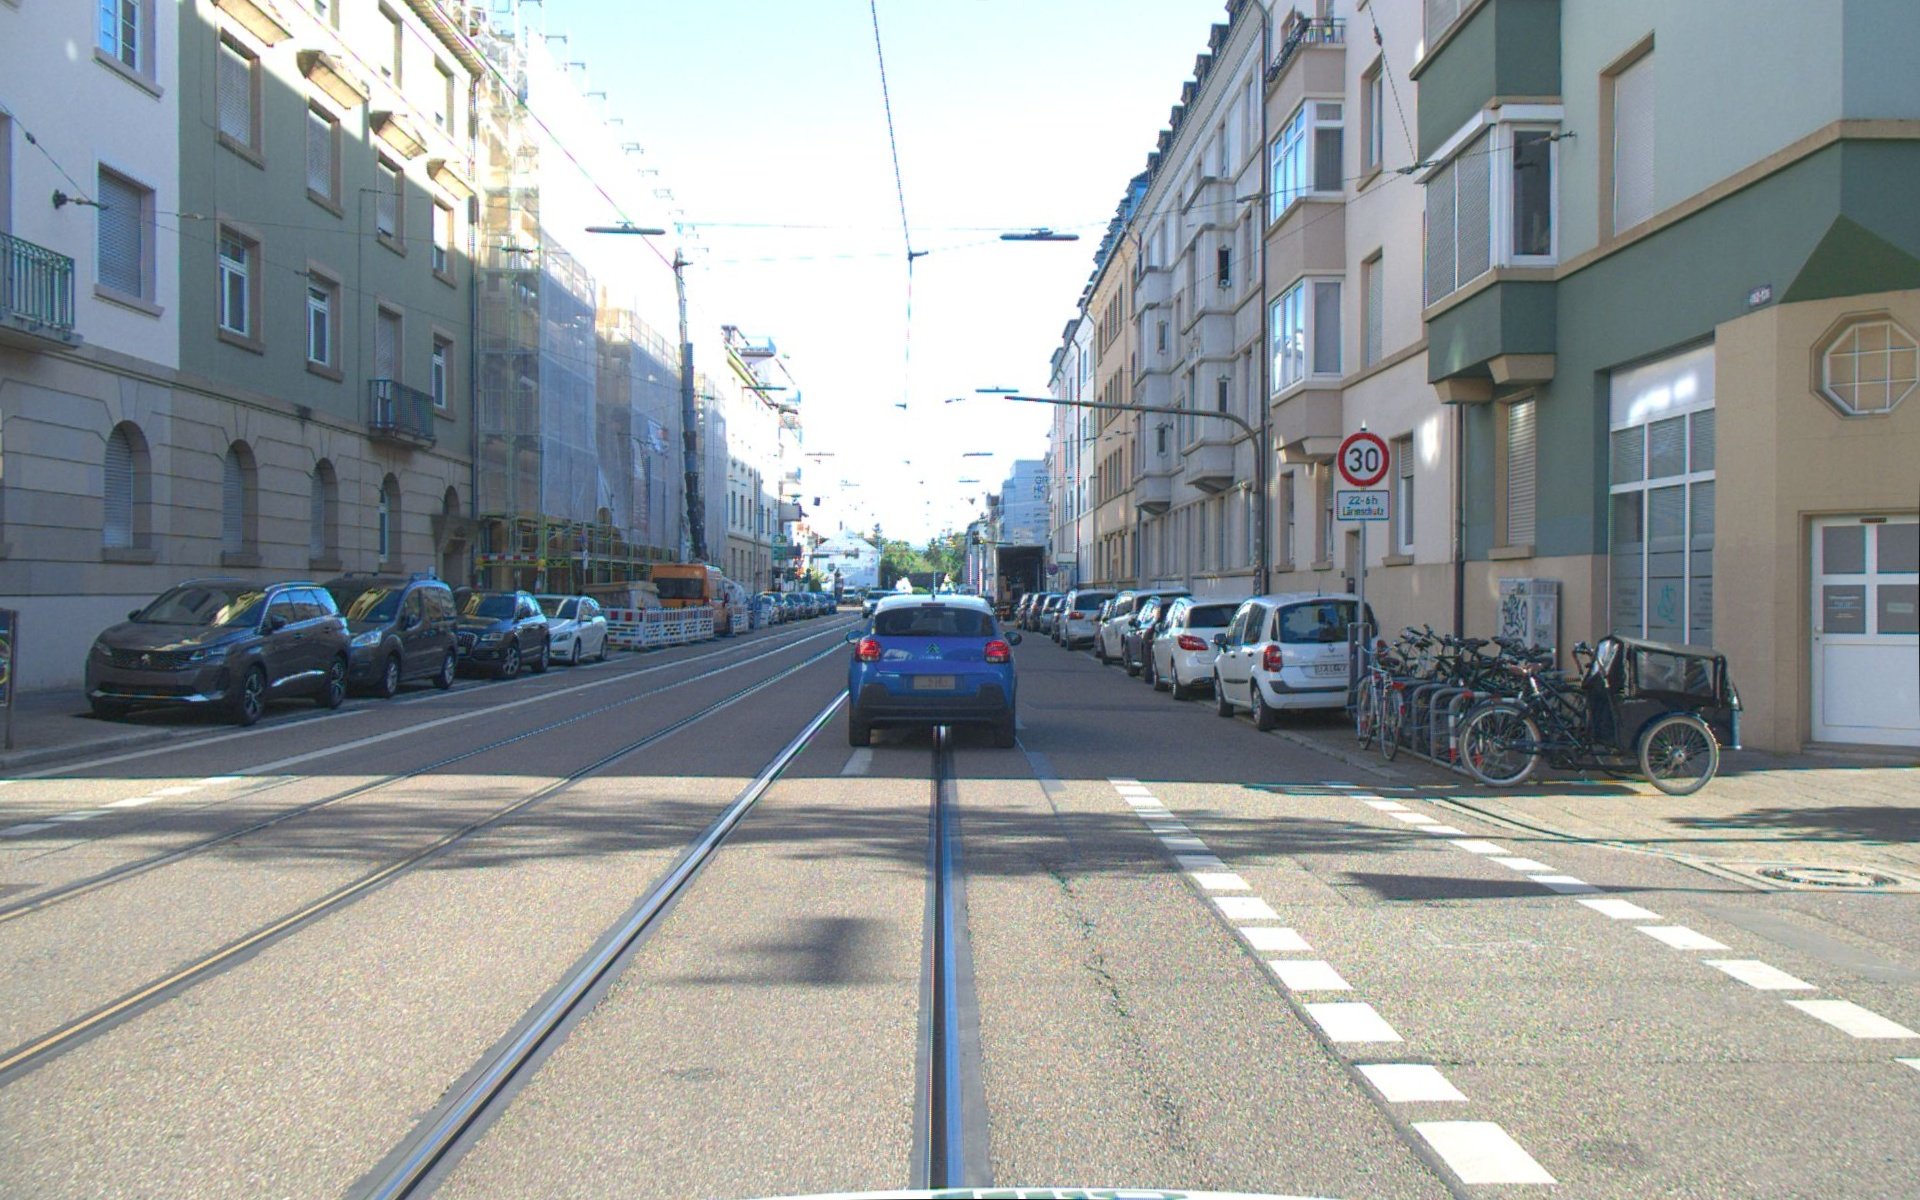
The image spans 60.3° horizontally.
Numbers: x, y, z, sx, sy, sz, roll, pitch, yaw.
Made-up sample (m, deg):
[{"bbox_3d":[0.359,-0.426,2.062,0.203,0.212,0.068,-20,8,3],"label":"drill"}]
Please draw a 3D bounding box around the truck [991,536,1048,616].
[{"bbox_3d":[3.208,-1.283,91.769,2.794,4.154,11.271,0,0,0],"label":"truck"}]

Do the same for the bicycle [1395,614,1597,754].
[{"bbox_3d":[5.017,0.779,15.520,1.687,1.174,0.469,-4,0,0],"label":"bicycle"}]

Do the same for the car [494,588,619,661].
[{"bbox_3d":[-9.192,0.512,38.020,1.683,1.529,4.388,2,1,1],"label":"car"}]

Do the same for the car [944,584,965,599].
[{"bbox_3d":[-0.557,-0.871,172.161,2.136,1.512,4.159,0,1,0],"label":"car"}]

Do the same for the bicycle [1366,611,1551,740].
[{"bbox_3d":[5.059,0.759,16.821,1.687,1.174,0.469,-4,0,0],"label":"bicycle"}]

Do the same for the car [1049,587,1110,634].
[{"bbox_3d":[3.971,0.323,55.501,1.687,1.512,4.221,0,0,0],"label":"car"}]

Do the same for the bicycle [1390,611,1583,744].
[{"bbox_3d":[5.146,0.750,16.201,1.687,1.174,0.469,-4,0,0],"label":"bicycle"}]

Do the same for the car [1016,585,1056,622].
[{"bbox_3d":[3.470,0.139,76.077,1.630,1.661,3.871,0,0,0],"label":"car"}]

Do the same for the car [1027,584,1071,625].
[{"bbox_3d":[3.734,0.147,70.060,1.630,1.675,4.221,0,0,0],"label":"car"}]

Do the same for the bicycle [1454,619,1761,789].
[{"bbox_3d":[5.066,0.796,13.039,2.044,1.174,0.848,-3,1,0],"label":"bicycle"}]

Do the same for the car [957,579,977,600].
[{"bbox_3d":[0.763,-1.165,184.184,2.174,2.324,4.083,0,0,0],"label":"car"}]

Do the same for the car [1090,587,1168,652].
[{"bbox_3d":[4.263,0.461,42.084,1.581,1.588,3.600,0,0,0],"label":"car"}]

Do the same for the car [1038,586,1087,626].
[{"bbox_3d":[4.018,0.208,65.220,1.630,1.546,4.221,0,0,0],"label":"car"}]

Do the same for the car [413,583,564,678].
[{"bbox_3d":[-9.016,0.528,32.000,1.747,1.655,4.607,2,1,-3],"label":"car"}]

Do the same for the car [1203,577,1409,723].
[{"bbox_3d":[4.253,0.553,20.932,1.747,1.660,4.000,0,0,0],"label":"car"}]

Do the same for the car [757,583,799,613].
[{"bbox_3d":[-10.571,-0.139,96.284,2.101,1.650,3.999,-1,1,-1],"label":"car"}]

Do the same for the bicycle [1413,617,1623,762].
[{"bbox_3d":[5.040,0.799,14.973,1.687,1.174,0.469,-4,0,0],"label":"bicycle"}]

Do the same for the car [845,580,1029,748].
[{"bbox_3d":[-0.231,0.582,17.636,1.699,1.533,3.992,2,1,0],"label":"car"}]

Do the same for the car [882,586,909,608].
[{"bbox_3d":[-4.762,-0.237,122.604,1.863,1.660,4.266,0,0,0],"label":"car"}]

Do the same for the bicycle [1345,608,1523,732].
[{"bbox_3d":[4.987,0.731,17.447,1.687,1.174,0.469,-4,0,0],"label":"bicycle"}]

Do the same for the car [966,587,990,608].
[{"bbox_3d":[1.330,-0.216,125.068,1.729,1.512,4.031,0,0,0],"label":"car"}]

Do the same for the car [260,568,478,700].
[{"bbox_3d":[-9.184,0.466,26.107,1.746,1.847,4.528,2,1,0],"label":"car"}]

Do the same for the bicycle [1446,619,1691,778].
[{"bbox_3d":[5.038,0.808,13.735,1.805,1.174,0.469,-4,0,0],"label":"bicycle"}]

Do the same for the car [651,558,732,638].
[{"bbox_3d":[-8.914,-0.096,55.342,2.101,2.518,4.978,1,1,-3],"label":"car"}]

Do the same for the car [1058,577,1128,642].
[{"bbox_3d":[3.946,0.257,49.771,1.695,1.859,4.686,0,0,0],"label":"car"}]

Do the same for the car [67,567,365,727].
[{"bbox_3d":[-9.099,0.495,20.695,1.747,1.720,4.665,2,1,-3],"label":"car"}]

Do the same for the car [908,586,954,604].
[{"bbox_3d":[-2.595,-0.454,146.375,3.939,1.512,1.759,0,0,-5],"label":"car"}]

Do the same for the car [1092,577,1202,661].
[{"bbox_3d":[4.196,0.386,37.705,1.622,1.782,4.598,0,0,-5],"label":"car"}]

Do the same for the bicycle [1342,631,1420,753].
[{"bbox_3d":[4.051,0.858,15.986,0.345,1.063,1.728,0,1,1],"label":"bicycle"}]

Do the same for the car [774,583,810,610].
[{"bbox_3d":[-10.350,-0.238,102.144,1.788,1.660,4.848,0,0,0],"label":"car"}]

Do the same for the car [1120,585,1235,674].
[{"bbox_3d":[4.130,0.518,31.937,1.621,1.594,4.338,0,0,0],"label":"car"}]

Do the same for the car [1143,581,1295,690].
[{"bbox_3d":[4.077,0.513,26.650,1.747,1.603,4.326,0,0,0],"label":"car"}]

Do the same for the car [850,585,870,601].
[{"bbox_3d":[-10.706,-0.747,177.102,1.863,1.660,4.266,0,0,0],"label":"car"}]

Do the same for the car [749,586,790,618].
[{"bbox_3d":[-10.152,0.091,88.311,1.679,1.621,4.266,0,0,0],"label":"car"}]

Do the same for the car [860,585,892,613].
[{"bbox_3d":[-5.236,-0.079,103.805,1.788,1.660,4.490,0,0,0],"label":"car"}]
